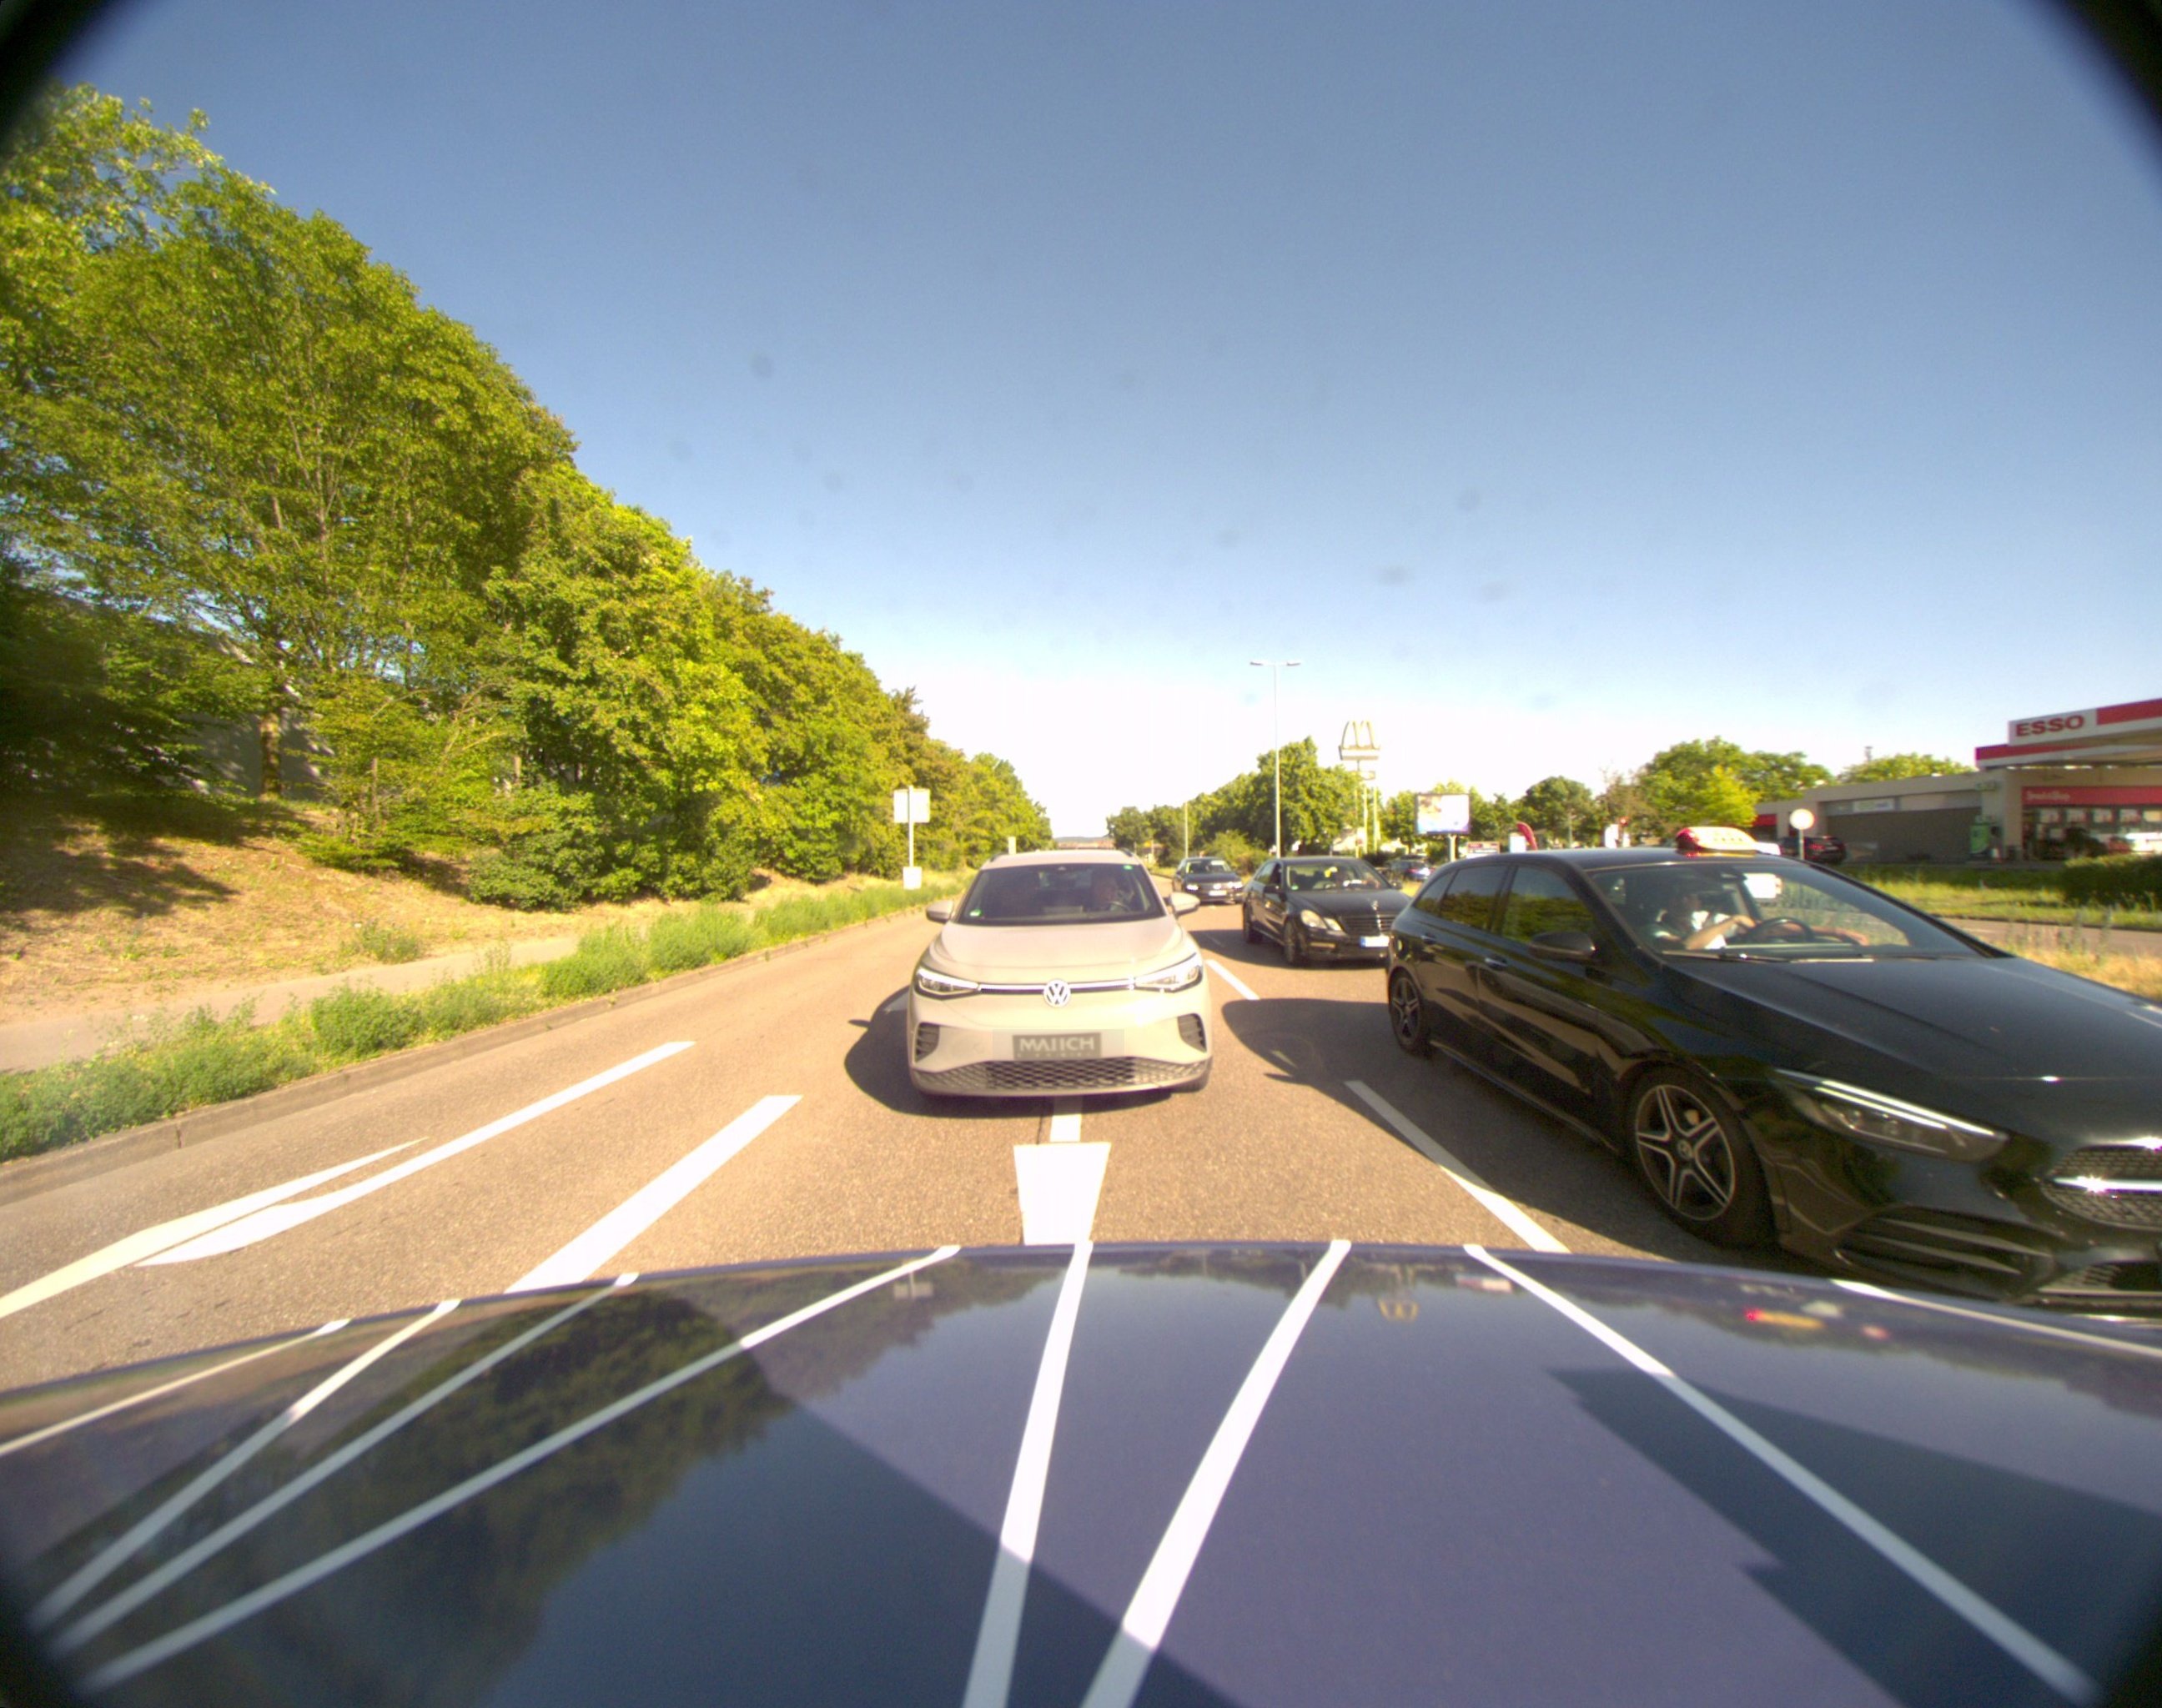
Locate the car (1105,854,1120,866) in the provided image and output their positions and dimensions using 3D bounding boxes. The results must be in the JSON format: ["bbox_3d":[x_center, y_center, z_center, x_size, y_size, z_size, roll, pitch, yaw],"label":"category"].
[{"bbox_3d":[4.259,0.825,103.360,1.862,1.578,4.403,-1,0,1],"label":"car"}]

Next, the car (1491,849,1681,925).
[{"bbox_3d":[12.638,0.746,19.422,1.884,1.680,4.436,-1,0,0],"label":"car"}]

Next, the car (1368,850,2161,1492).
[{"bbox_3d":[3.169,0.812,4.016,1.804,1.616,4.188,-1,0,2],"label":"car"}]

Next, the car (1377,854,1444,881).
[{"bbox_3d":[19.321,0.762,44.804,1.908,1.437,4.607,1,0,0],"label":"car"}]

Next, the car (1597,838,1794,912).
[{"bbox_3d":[18.349,0.570,23.094,1.998,2.002,5.027,1,0,2],"label":"car"}]

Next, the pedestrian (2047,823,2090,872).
[{"bbox_3d":[40.875,-0.261,31.464,0.703,2.002,0.840,-1,0,1],"label":"pedestrian"}]

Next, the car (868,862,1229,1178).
[{"bbox_3d":[-0.147,0.903,5.996,1.871,1.588,3.932,-2,0,1],"label":"car"}]

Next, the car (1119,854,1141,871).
[{"bbox_3d":[4.705,0.766,73.265,1.862,1.578,4.403,-1,0,1],"label":"car"}]

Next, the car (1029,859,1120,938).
[{"bbox_3d":[-0.108,0.902,16.975,1.765,1.503,3.760,-2,0,1],"label":"car"}]

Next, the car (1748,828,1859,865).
[{"bbox_3d":[37.721,-0.360,39.819,1.998,1.759,4.118,-2,0,2],"label":"car"}]

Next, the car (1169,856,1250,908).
[{"bbox_3d":[4.004,0.832,24.367,1.862,1.472,4.403,-1,0,1],"label":"car"}]

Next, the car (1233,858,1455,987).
[{"bbox_3d":[3.650,0.853,11.472,1.862,1.515,4.403,-1,0,1],"label":"car"}]

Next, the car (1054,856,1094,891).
[{"bbox_3d":[-0.300,0.890,36.287,1.765,1.503,3.760,-2,0,1],"label":"car"}]
